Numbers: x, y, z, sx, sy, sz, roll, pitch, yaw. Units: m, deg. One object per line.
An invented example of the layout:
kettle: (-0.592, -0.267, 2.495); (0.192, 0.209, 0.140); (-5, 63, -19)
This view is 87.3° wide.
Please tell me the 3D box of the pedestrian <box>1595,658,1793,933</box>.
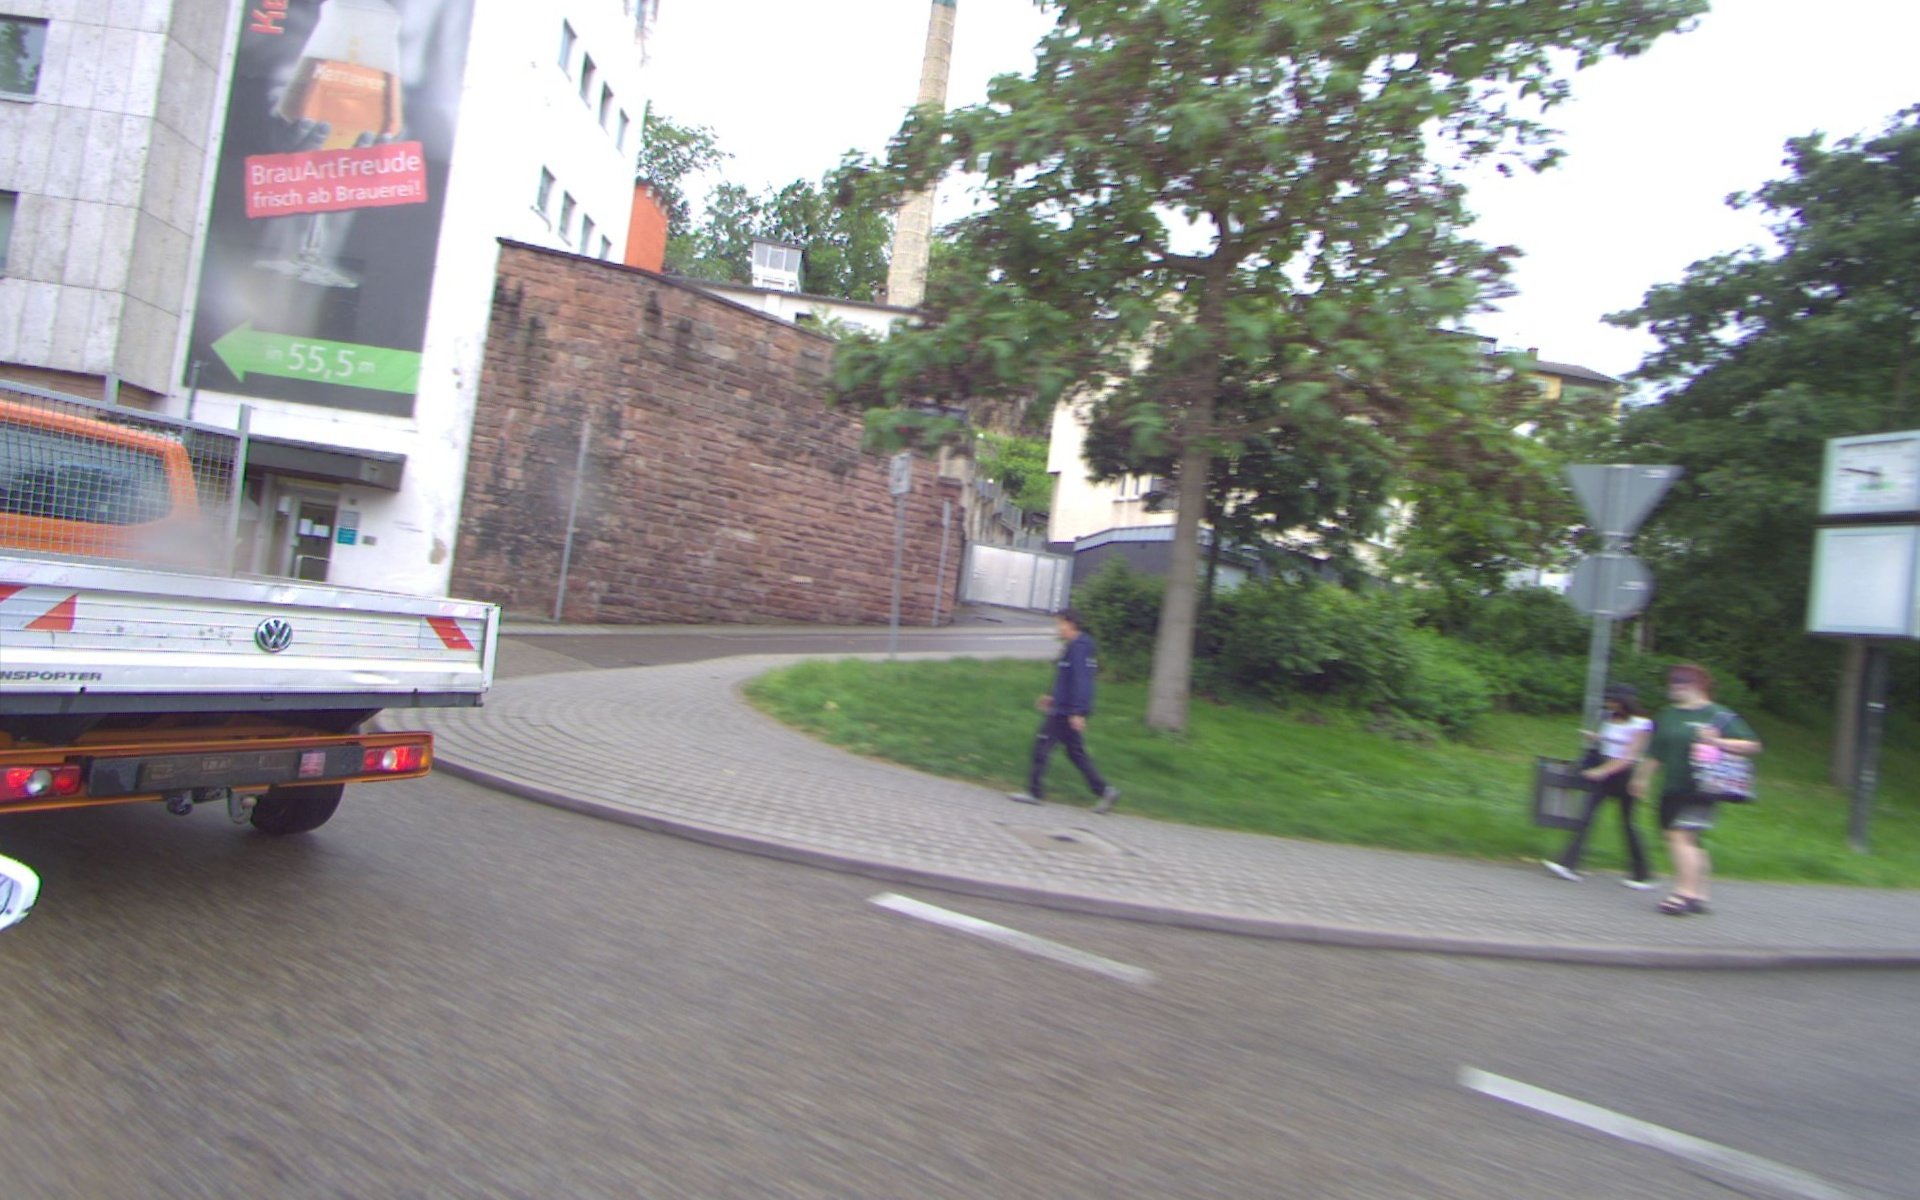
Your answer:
pedestrian: (5.402, 1.420, 7.440); (0.684, 1.853, 0.740); (6, 2, -18)

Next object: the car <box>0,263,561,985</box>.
car: (-4.836, -0.102, 4.945); (5.444, 2.114, 2.107); (6, -1, 27)

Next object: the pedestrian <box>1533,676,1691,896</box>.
pedestrian: (5.253, 1.481, 8.132); (0.695, 1.620, 0.600); (6, 1, -11)

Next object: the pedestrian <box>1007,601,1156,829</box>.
pedestrian: (1.025, 0.930, 8.421); (0.945, 1.708, 0.572); (9, 2, 10)
